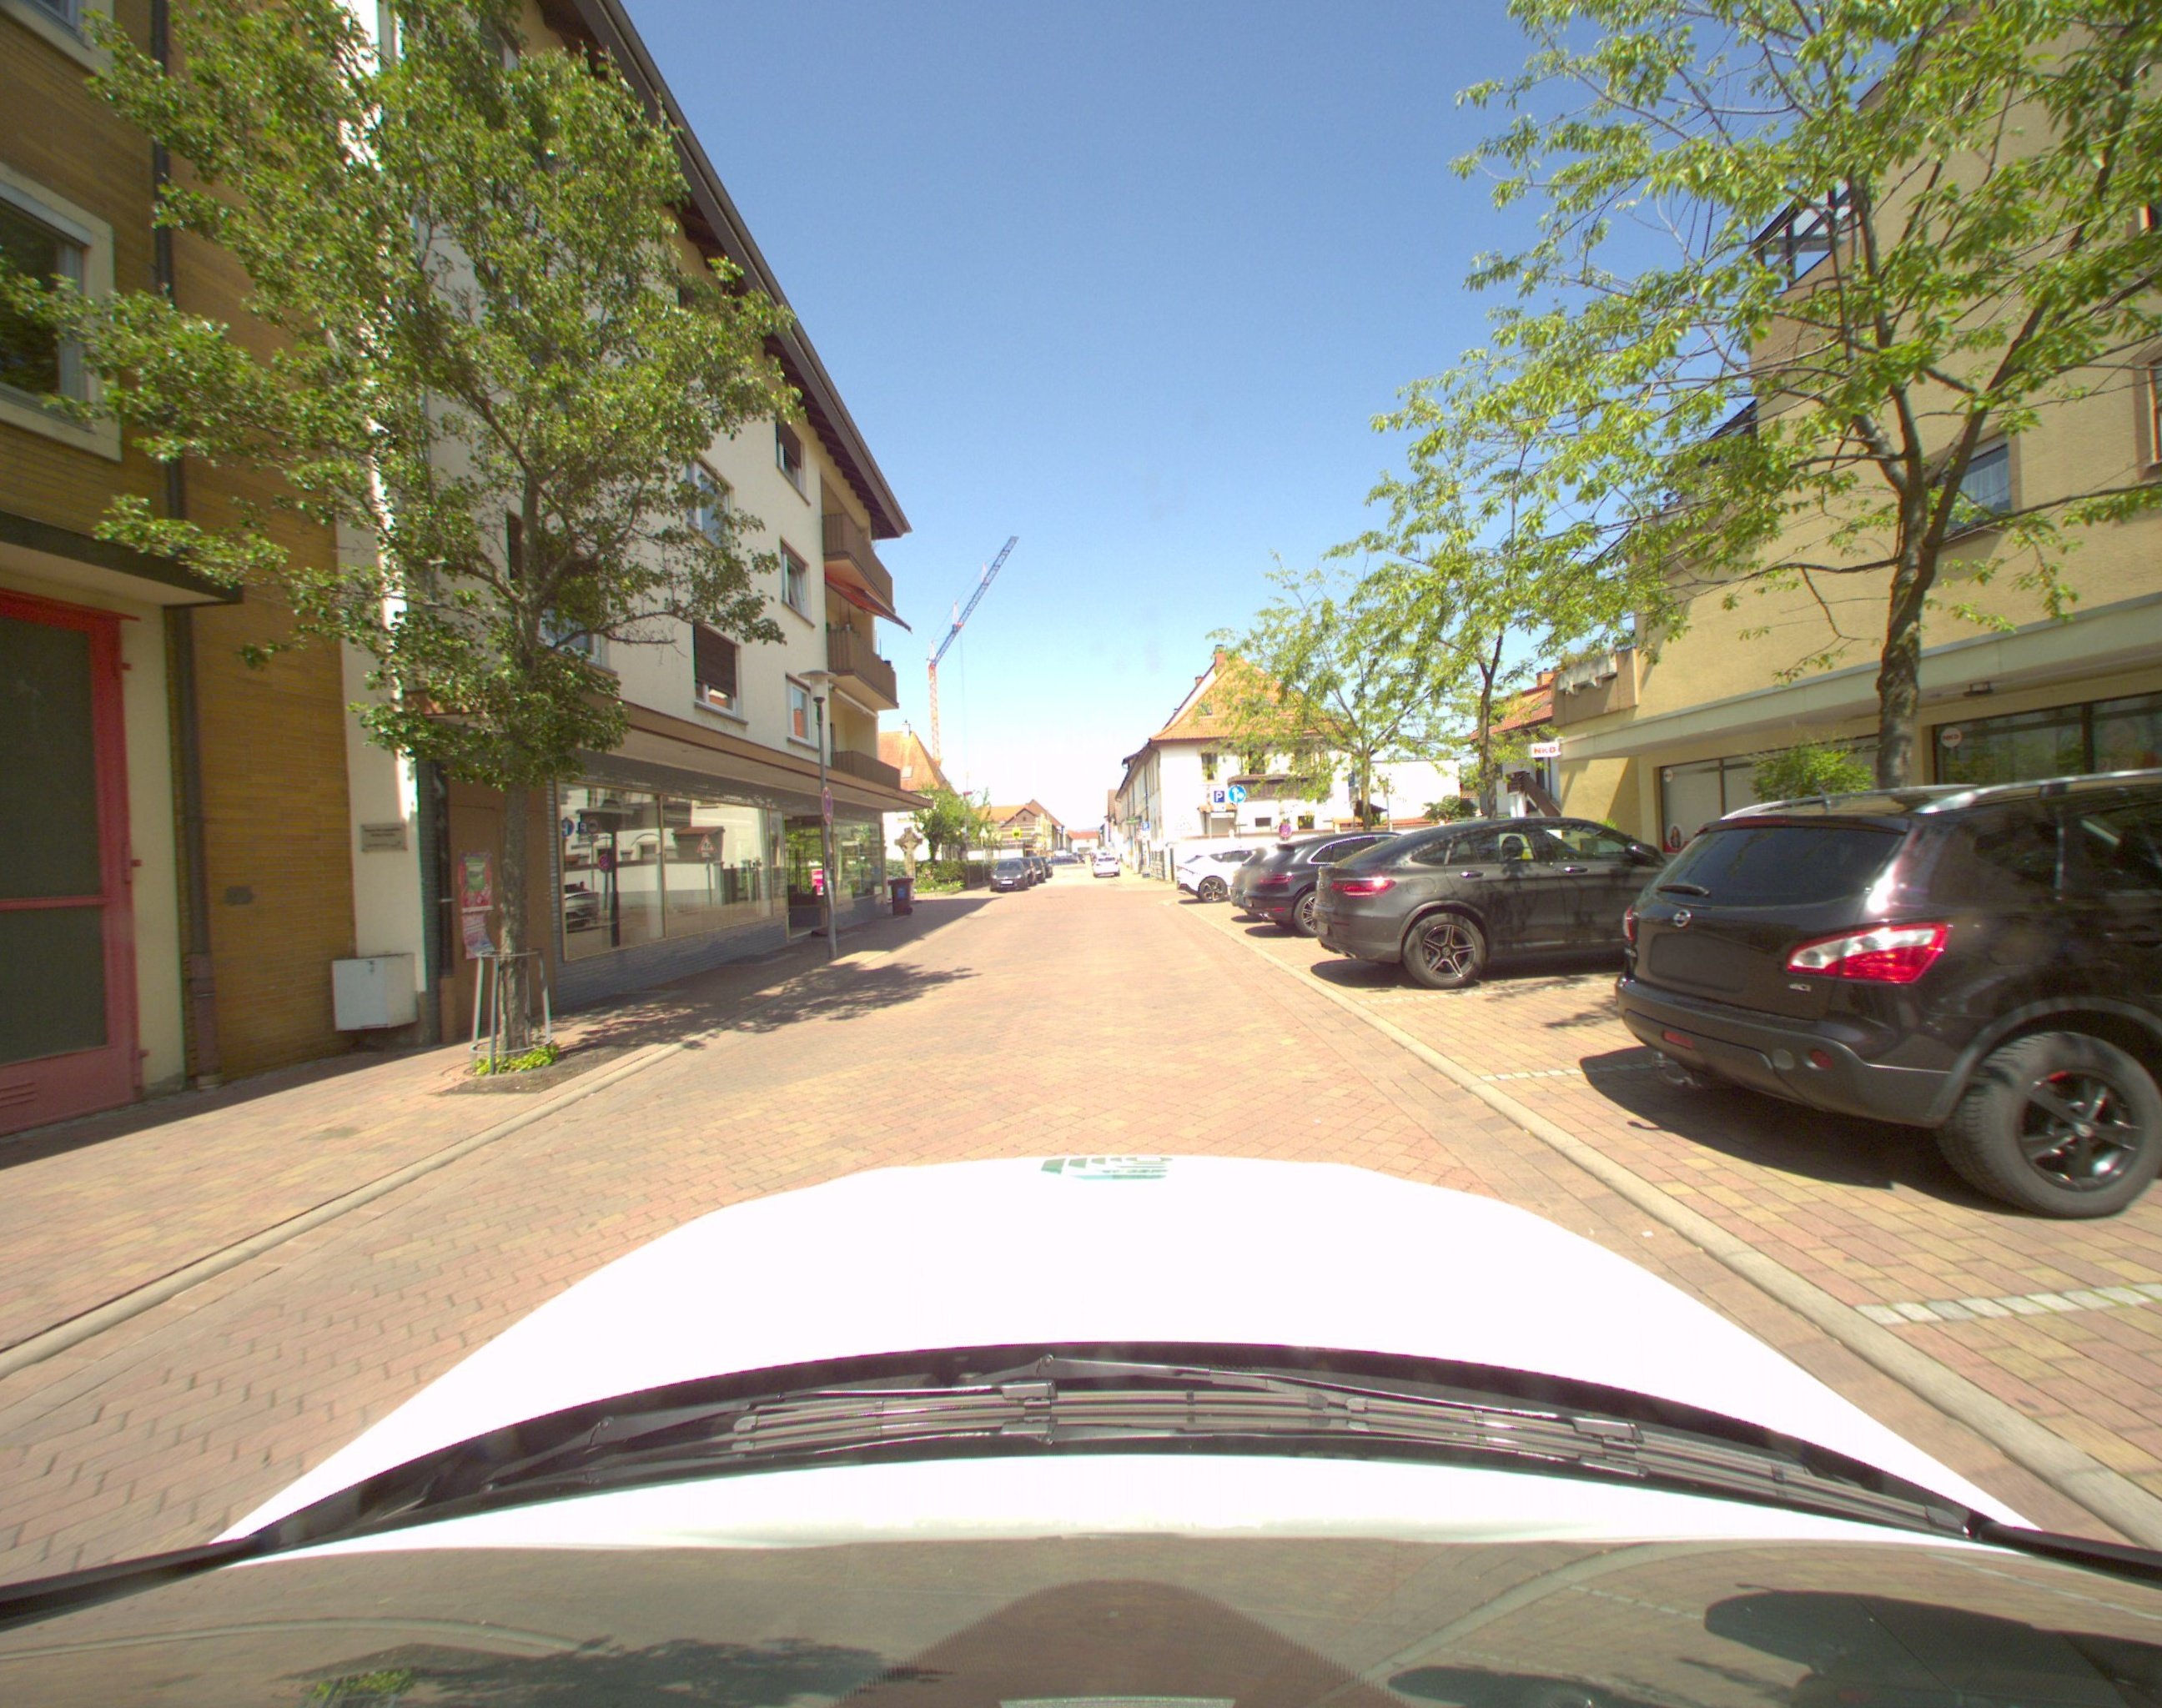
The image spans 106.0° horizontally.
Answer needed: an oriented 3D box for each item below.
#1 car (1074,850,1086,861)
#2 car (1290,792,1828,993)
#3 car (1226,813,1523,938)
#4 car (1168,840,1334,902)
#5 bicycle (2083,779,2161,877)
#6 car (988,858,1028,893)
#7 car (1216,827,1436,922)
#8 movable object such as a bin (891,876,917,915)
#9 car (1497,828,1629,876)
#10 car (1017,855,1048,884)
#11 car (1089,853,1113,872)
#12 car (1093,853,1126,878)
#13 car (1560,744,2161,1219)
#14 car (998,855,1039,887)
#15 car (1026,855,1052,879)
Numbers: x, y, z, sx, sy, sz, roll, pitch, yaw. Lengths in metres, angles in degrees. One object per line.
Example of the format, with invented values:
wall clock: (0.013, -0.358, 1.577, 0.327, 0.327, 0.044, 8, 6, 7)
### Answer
car: (-0.155, 0.293, 133.230, 1.876, 1.668, 4.152, -3, 0, 0)
car: (4.701, 0.371, 8.604, 4.489, 1.588, 1.852, -4, 0, 3)
car: (4.843, 0.343, 13.905, 4.267, 1.681, 2.000, -4, 0, -1)
car: (4.905, 0.476, 23.887, 4.429, 1.576, 1.787, -3, 0, -2)
bicycle: (12.672, -0.307, 9.261, 0.411, 1.124, 1.776, -2, -1, 3)
car: (-3.473, 0.996, 39.419, 1.698, 1.496, 3.853, -3, 0, -3)
car: (4.966, 0.408, 16.889, 3.931, 1.534, 1.824, -5, 0, 0)
movable object such as a bin: (-5.169, 1.211, 23.809, 0.654, 1.070, 0.662, -2, 0, -6)
car: (16.748, -0.078, 28.419, 3.602, 1.451, 1.655, -3, 1, 1)
car: (-3.024, 0.944, 50.994, 1.632, 1.628, 3.767, -3, 0, 0)
car: (1.887, 0.830, 77.760, 1.880, 1.556, 3.891, -6, 1, -2)
car: (2.068, 0.785, 58.100, 1.877, 1.542, 4.251, -3, 0, 7)
car: (4.747, 0.345, 3.728, 4.012, 1.612, 1.682, -5, 0, 2)
car: (-3.429, 0.898, 45.320, 1.808, 1.605, 4.026, -3, 0, 2)
car: (-3.149, 0.955, 61.776, 1.821, 1.630, 4.215, -3, 0, -1)
